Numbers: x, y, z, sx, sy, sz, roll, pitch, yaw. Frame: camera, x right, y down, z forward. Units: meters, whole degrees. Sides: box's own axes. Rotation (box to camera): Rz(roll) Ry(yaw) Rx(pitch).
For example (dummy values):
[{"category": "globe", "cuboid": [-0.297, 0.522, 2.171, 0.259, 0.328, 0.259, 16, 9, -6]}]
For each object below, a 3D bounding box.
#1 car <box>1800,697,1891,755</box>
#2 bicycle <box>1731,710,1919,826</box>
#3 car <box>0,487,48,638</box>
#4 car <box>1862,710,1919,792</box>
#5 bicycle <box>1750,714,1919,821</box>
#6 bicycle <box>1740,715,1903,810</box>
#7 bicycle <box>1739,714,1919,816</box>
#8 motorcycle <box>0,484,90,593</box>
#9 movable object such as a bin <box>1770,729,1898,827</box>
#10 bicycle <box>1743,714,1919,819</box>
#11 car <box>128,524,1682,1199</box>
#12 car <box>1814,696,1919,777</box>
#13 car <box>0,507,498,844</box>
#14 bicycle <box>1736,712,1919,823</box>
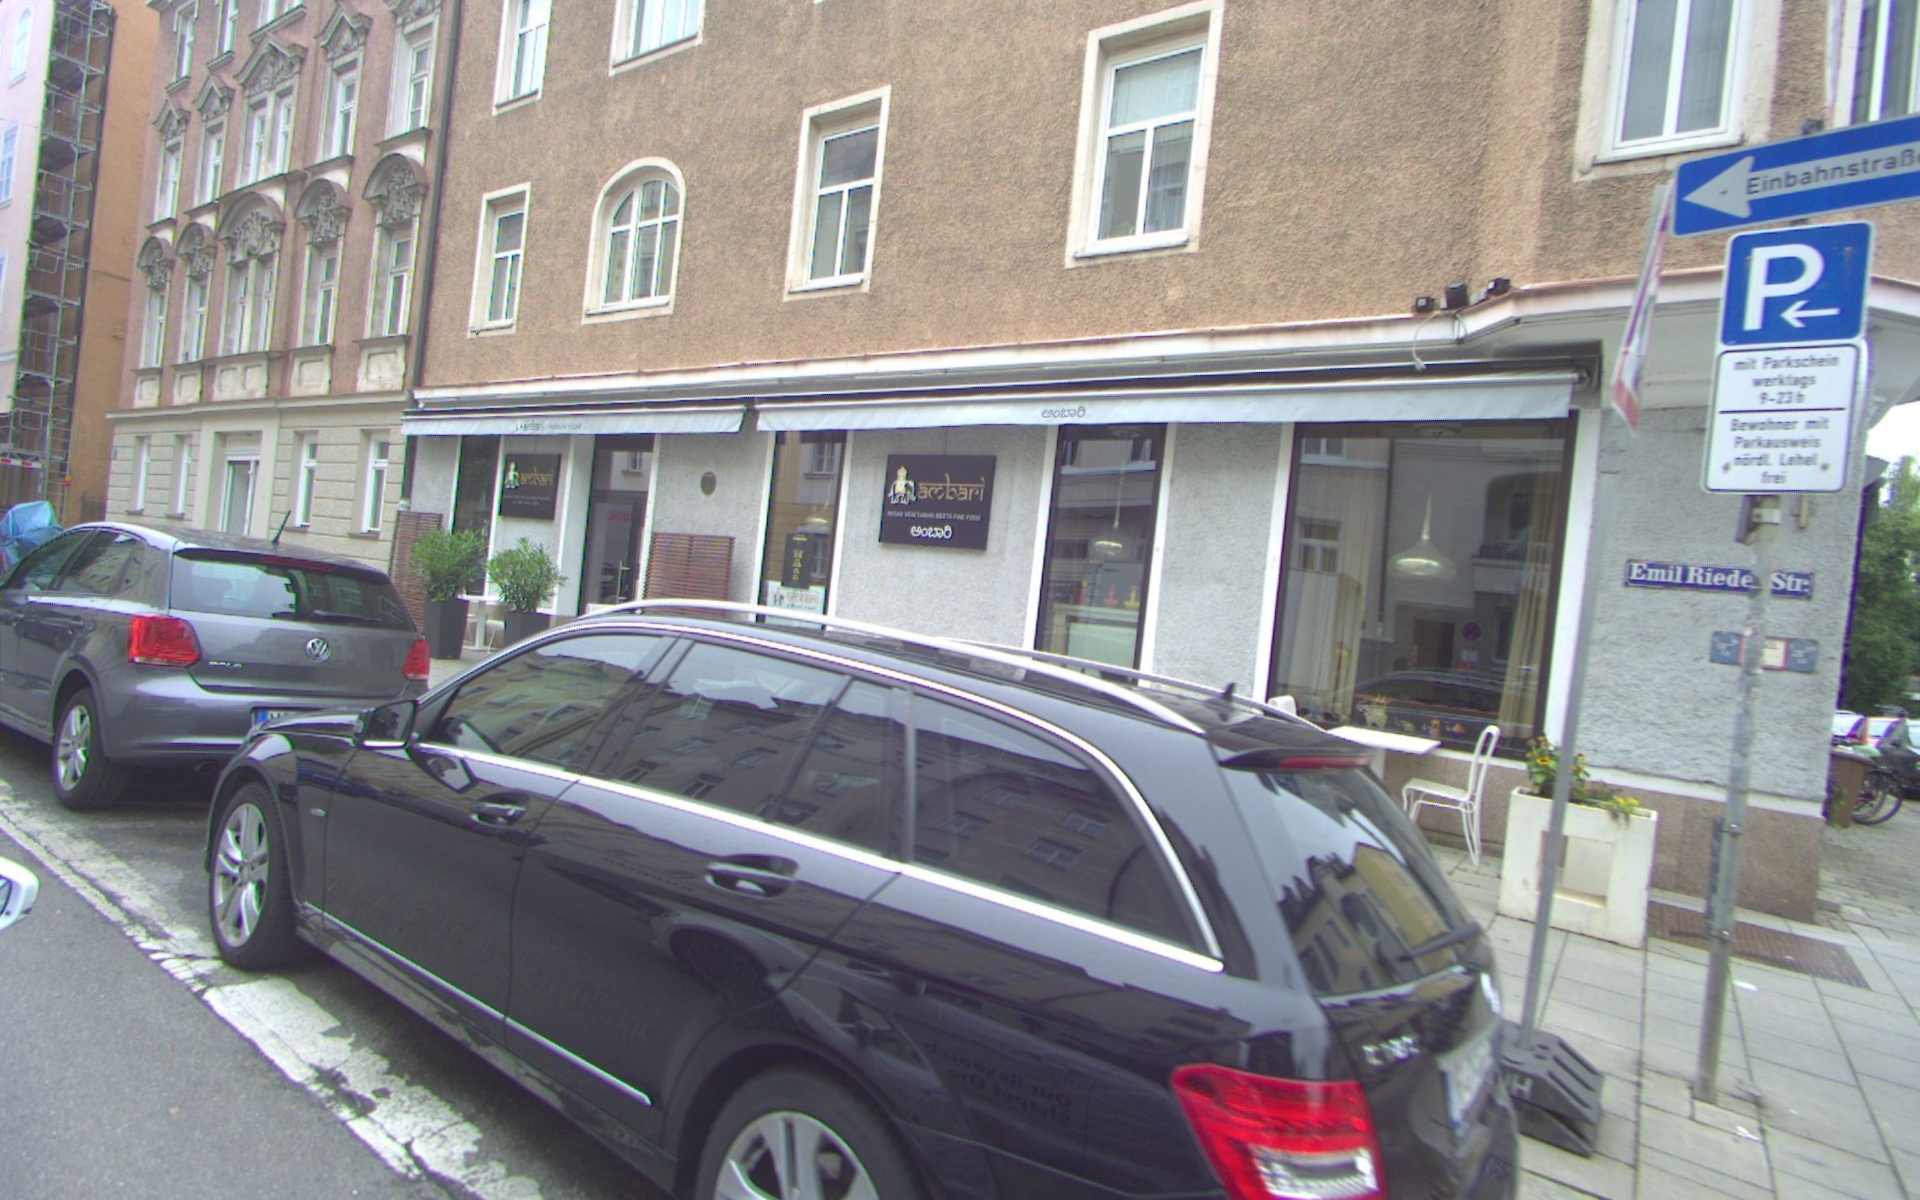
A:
[{"category": "car", "cuboid": [31.206, 4.398, 35.577, 1.949, 1.588, 4.651, 6, 0, 37]}, {"category": "bicycle", "cuboid": [11.169, 2.133, 12.897, 1.893, 1.158, 0.475, 6, 1, 19]}, {"category": "car", "cuboid": [-12.751, -0.709, 11.615, 5.546, 1.572, 1.932, 6, -1, 34]}, {"category": "car", "cuboid": [20.318, 3.182, 20.852, 1.949, 1.521, 4.654, 6, -1, 38]}, {"category": "bicycle", "cuboid": [12.028, 2.266, 13.679, 1.893, 1.158, 0.417, 6, 1, 19]}, {"category": "bicycle", "cuboid": [13.097, 2.456, 15.338, 1.766, 1.158, 0.417, 6, 1, 19]}, {"category": "bicycle", "cuboid": [12.529, 2.357, 14.528, 1.893, 1.158, 0.417, 6, 1, 19]}, {"category": "motorcycle", "cuboid": [-14.475, -0.981, 15.690, 1.967, 1.523, 0.871, 6, 0, 37]}, {"category": "movable object such as a bin", "cuboid": [10.764, 2.175, 12.430, 0.952, 0.962, 0.733, 7, 1, 28]}, {"category": "bicycle", "cuboid": [12.232, 2.305, 14.072, 1.893, 1.158, 0.417, 6, 1, 19]}, {"category": "car", "cuboid": [-0.675, 0.697, 3.243, 4.713, 1.422, 1.847, 6, -1, 35]}, {"category": "car", "cuboid": [23.349, 3.417, 25.616, 1.948, 1.588, 4.653, 6, 0, 36]}, {"category": "car", "cuboid": [-4.826, 0.255, 6.234, 4.116, 1.412, 1.573, 6, 0, 34]}, {"category": "bicycle", "cuboid": [11.554, 2.195, 13.306, 1.893, 1.158, 0.475, 6, 1, 19]}]
